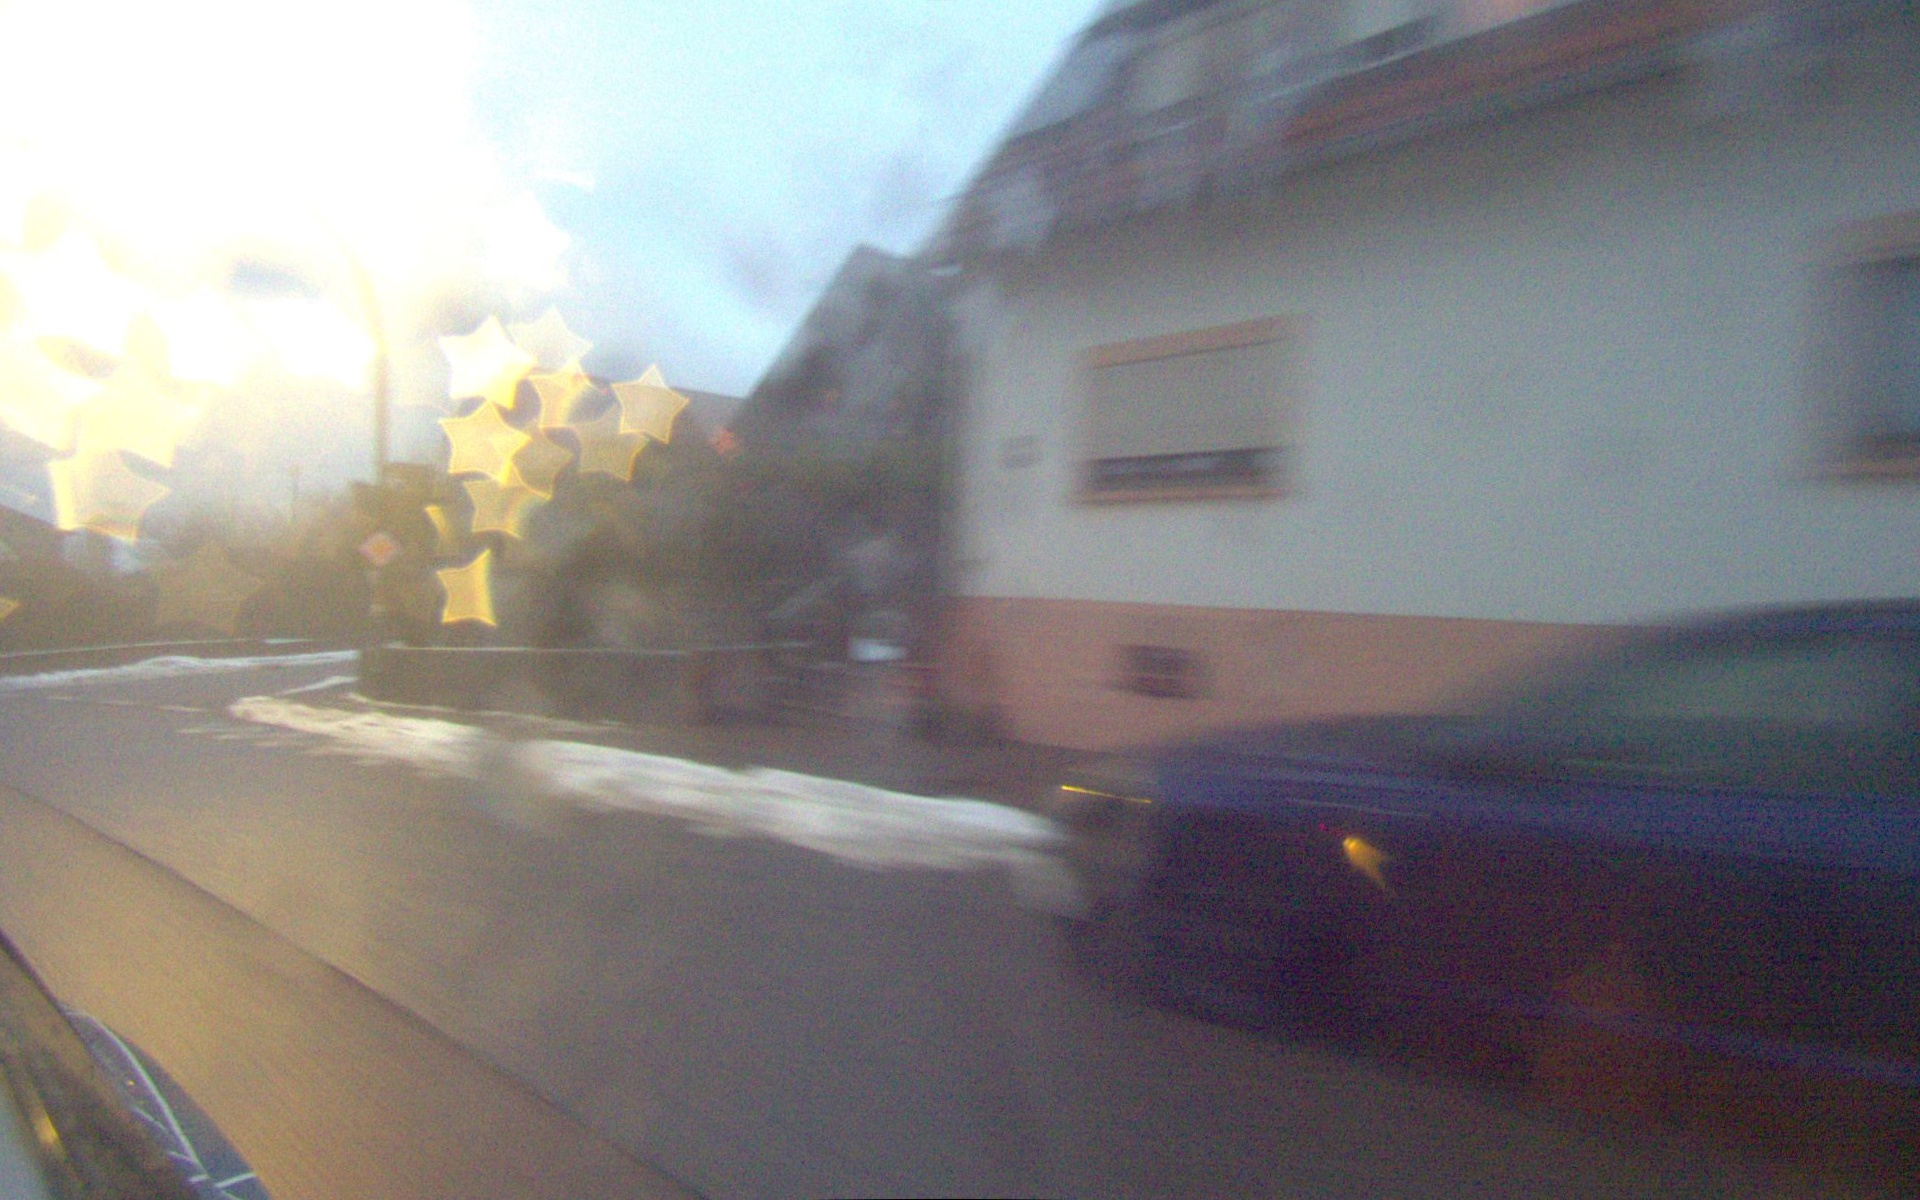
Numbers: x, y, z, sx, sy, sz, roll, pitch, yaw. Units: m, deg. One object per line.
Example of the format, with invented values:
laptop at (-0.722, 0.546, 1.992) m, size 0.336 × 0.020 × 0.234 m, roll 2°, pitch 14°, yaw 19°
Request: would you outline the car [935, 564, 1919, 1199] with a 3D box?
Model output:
car at (2.522, 0.626, 3.069) m, size 5.391 × 1.437 × 1.857 m, roll -2°, pitch 0°, yaw 42°
